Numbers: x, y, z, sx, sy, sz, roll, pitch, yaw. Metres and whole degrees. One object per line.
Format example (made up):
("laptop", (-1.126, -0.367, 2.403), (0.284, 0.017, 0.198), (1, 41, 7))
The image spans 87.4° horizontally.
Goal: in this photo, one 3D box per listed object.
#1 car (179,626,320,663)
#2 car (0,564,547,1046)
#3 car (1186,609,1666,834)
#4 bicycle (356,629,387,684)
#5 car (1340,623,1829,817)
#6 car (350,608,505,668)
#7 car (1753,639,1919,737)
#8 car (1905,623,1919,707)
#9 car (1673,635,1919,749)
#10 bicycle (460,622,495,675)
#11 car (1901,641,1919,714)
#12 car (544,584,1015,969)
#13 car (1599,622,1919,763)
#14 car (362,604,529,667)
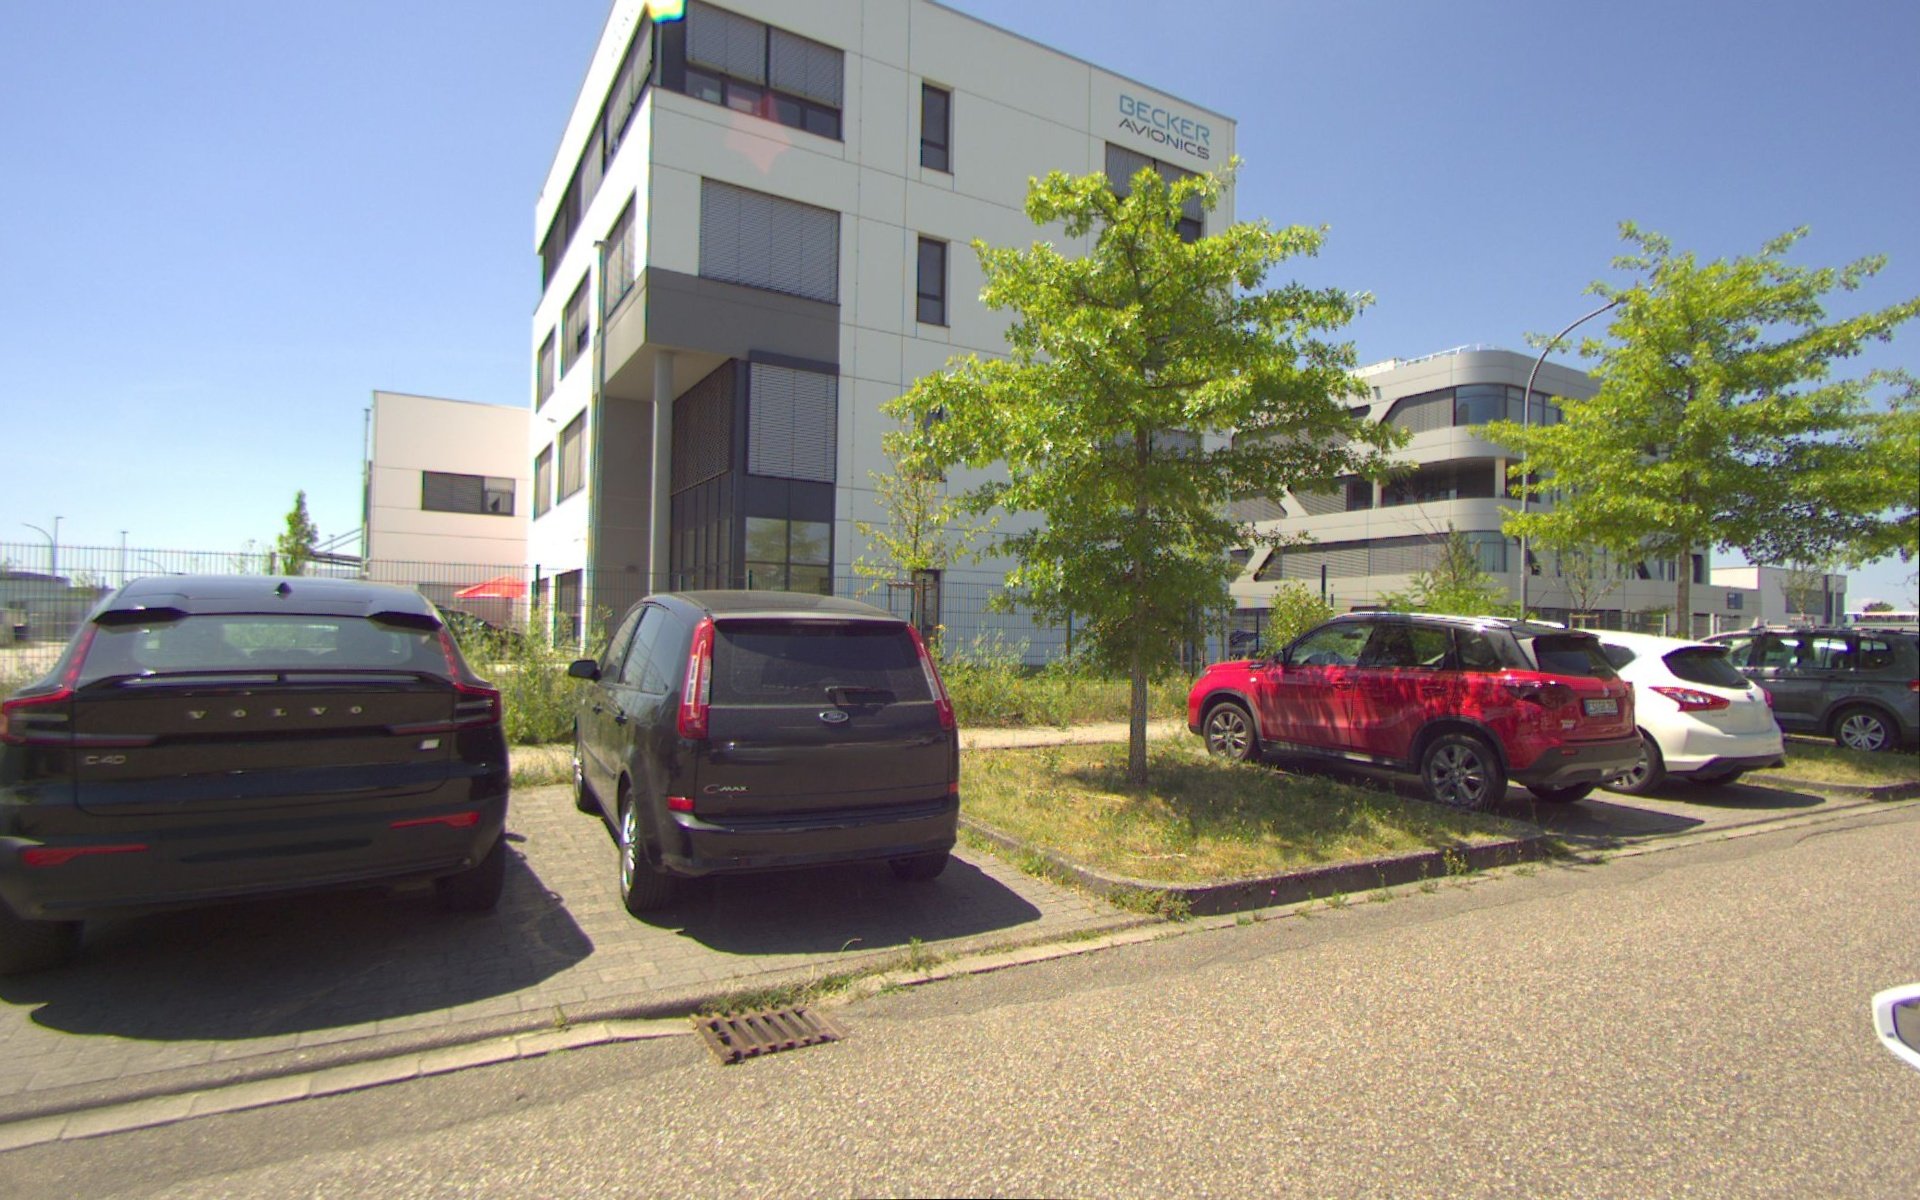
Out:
("car", (-27.410, 1.714, 38.948), (4.289, 1.357, 1.767), (2, -2, -31))
("car", (-3.559, 0.694, 5.410), (1.810, 1.614, 3.816), (2, 0, -32))
("car", (4.130, 0.934, 9.514), (1.708, 1.613, 3.818), (2, 0, -31))
("bicycle", (-11.082, 1.047, 18.911), (0.456, 0.995, 1.584), (2, -2, -31))
("car", (6.383, 1.074, 10.830), (1.784, 1.533, 4.155), (1, 0, -28))
("car", (-15.824, 1.143, 29.943), (3.955, 1.706, 1.767), (2, -2, -31))
("car", (15.994, 1.453, 16.215), (1.837, 1.466, 4.686), (2, 0, -32))
("car", (23.946, 1.520, 21.519), (1.972, 1.917, 5.050), (2, -1, -28))
("car", (13.693, 1.358, 15.320), (1.708, 1.493, 4.288), (2, 0, -31))
("bicycle", (-9.461, 0.932, 19.692), (0.456, 0.995, 1.584), (2, -2, -31))
("car", (21.556, 1.661, 19.874), (1.742, 1.504, 3.951), (2, 0, -29))
("car", (-1.430, 0.751, 6.334), (1.707, 1.613, 3.888), (2, 0, -30))
("car", (11.757, 1.200, 14.353), (1.707, 1.656, 4.097), (2, 0, -30))
("car", (-14.176, 1.003, 27.730), (3.955, 1.623, 1.767), (2, -2, -31))
